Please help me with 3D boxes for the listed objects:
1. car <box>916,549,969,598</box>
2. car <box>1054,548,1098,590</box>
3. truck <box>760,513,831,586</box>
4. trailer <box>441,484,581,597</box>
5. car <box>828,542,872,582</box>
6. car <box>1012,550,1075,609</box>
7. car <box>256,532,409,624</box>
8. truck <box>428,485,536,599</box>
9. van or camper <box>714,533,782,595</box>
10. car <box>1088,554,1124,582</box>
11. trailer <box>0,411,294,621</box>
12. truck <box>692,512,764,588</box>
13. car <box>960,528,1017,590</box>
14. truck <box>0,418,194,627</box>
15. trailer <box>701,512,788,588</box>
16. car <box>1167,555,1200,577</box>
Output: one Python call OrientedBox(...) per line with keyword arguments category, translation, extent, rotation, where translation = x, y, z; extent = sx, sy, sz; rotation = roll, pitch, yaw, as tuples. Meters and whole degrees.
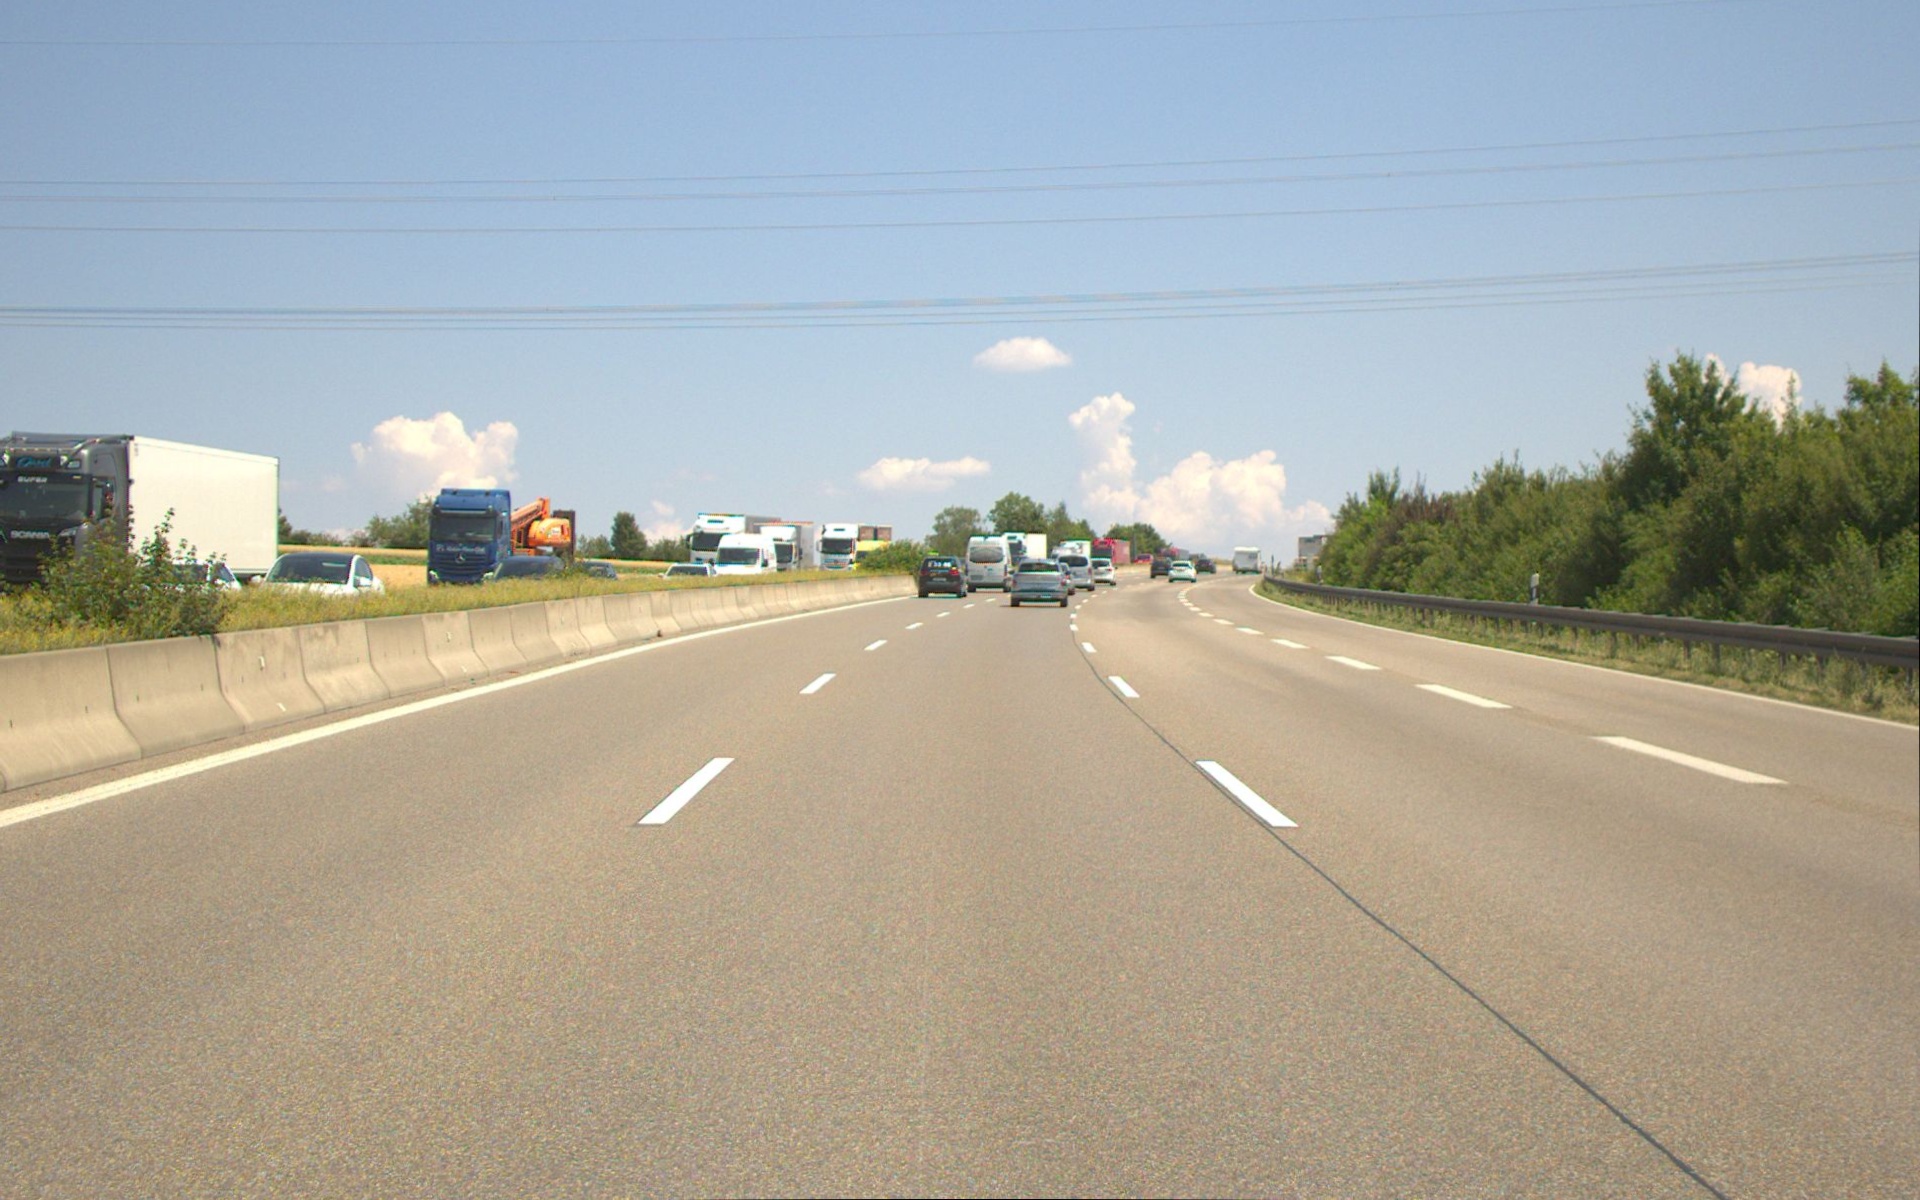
OrientedBox(category="car", translation=(-0.687, -1.068, 137.404), extent=(1.847, 1.854, 4.205), rotation=(1, 1, 3))
OrientedBox(category="car", translation=(5.738, -1.499, 170.042), extent=(1.994, 1.897, 3.999), rotation=(0, -2, 5))
OrientedBox(category="truck", translation=(-8.589, -2.650, 179.992), extent=(2.936, 3.730, 7.779), rotation=(1, 1, 3))
OrientedBox(category="trailer", translation=(-16.704, -2.166, 128.932), extent=(2.839, 3.944, 13.727), rotation=(1, 0, 3))
OrientedBox(category="car", translation=(-7.475, -2.590, 233.566), extent=(2.331, 2.549, 5.605), rotation=(1, 2, 5))
OrientedBox(category="car", translation=(2.755, -0.656, 112.647), extent=(1.993, 1.744, 3.999), rotation=(1, -2, 2))
OrientedBox(category="car", translation=(-11.297, -0.407, 62.184), extent=(1.879, 1.565, 4.589), rotation=(1, 1, 0))
OrientedBox(category="truck", translation=(-16.968, -2.043, 122.277), extent=(2.776, 3.924, 6.138), rotation=(1, 1, 2))
OrientedBox(category="van or camper", translation=(-8.593, -1.444, 139.829), extent=(2.067, 2.455, 7.519), rotation=(-1, 0, 2))
OrientedBox(category="car", translation=(8.677, -1.927, 204.095), extent=(1.994, 1.546, 4.000), rotation=(2, 1, 3))
OrientedBox(category="trailer", translation=(-18.599, -1.857, 79.554), extent=(3.242, 4.372, 14.027), rotation=(1, 1, 1))
OrientedBox(category="truck", translation=(-12.528, -2.673, 186.158), extent=(2.853, 4.013, 6.513), rotation=(1, 0, 5))
OrientedBox(category="car", translation=(1.324, -1.893, 159.985), extent=(2.180, 2.616, 4.671), rotation=(1, -2, 6))
OrientedBox(category="truck", translation=(-18.758, -1.617, 72.985), extent=(3.226, 4.192, 7.126), rotation=(1, 1, 1))
OrientedBox(category="trailer", translation=(-11.964, -2.745, 192.354), extent=(2.793, 4.091, 14.005), rotation=(1, 0, 5))
OrientedBox(category="car", translation=(15.225, -2.316, 233.891), extent=(1.902, 1.437, 3.999), rotation=(1, 1, 8))
